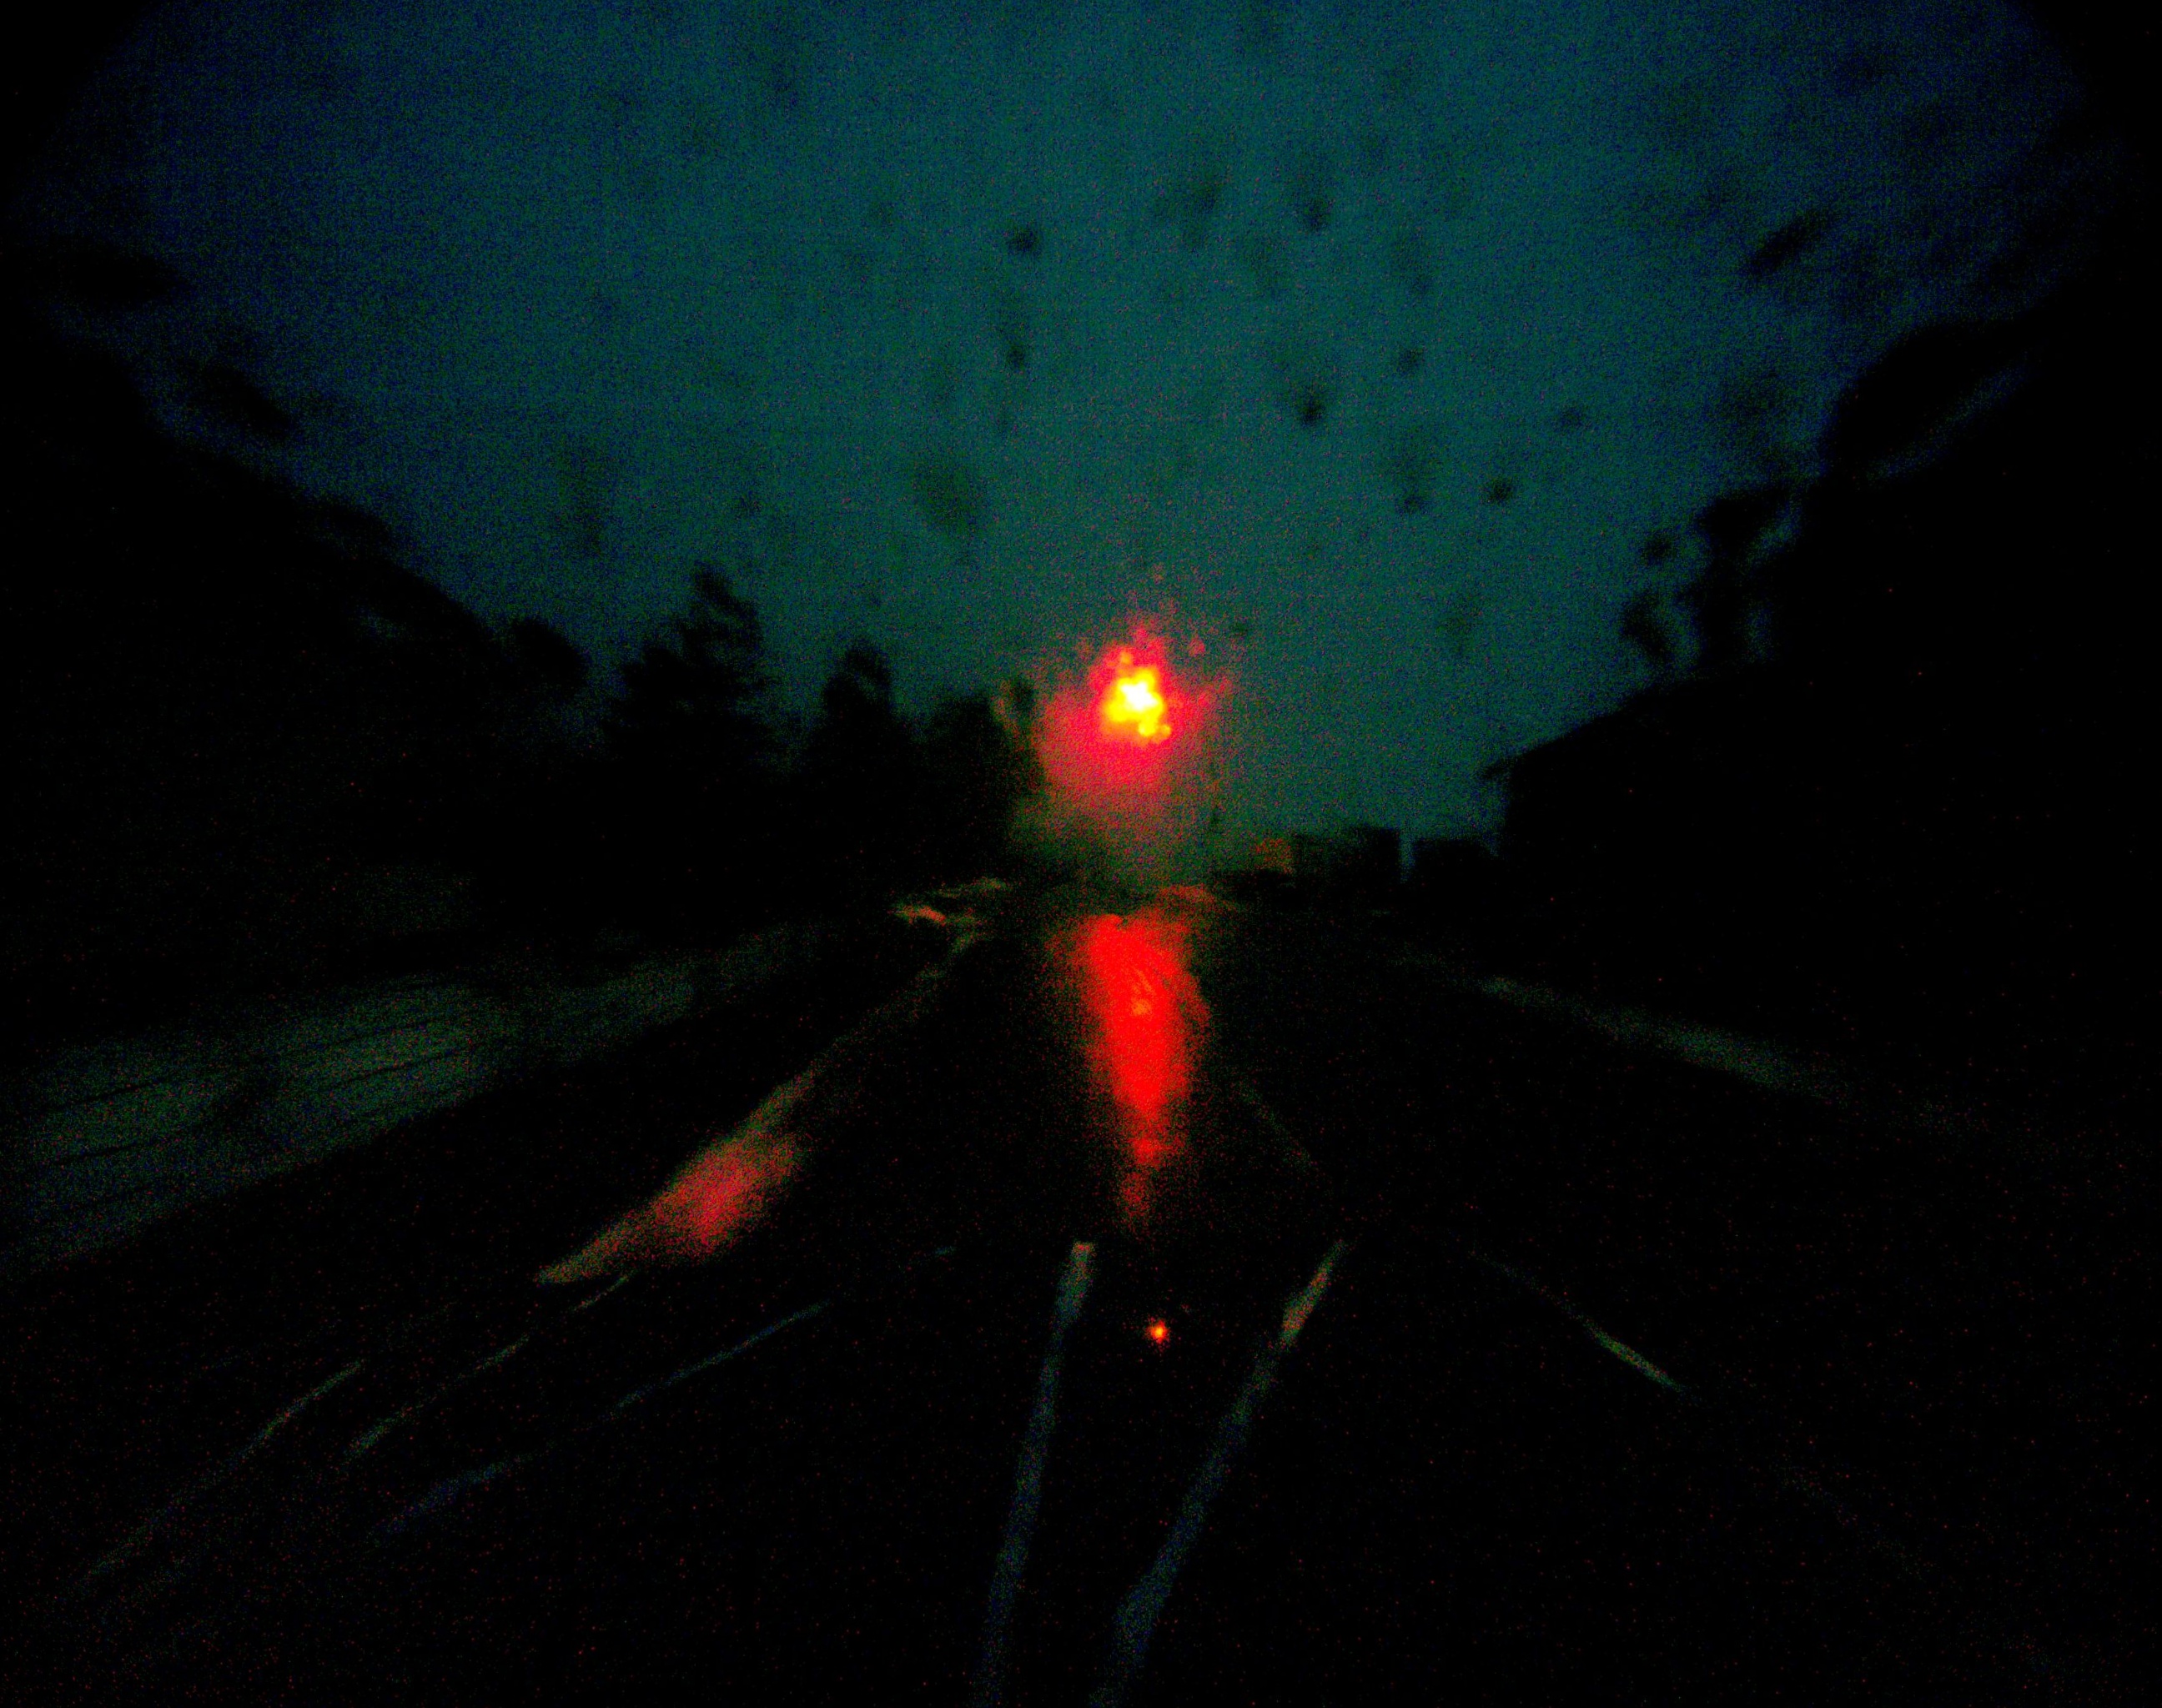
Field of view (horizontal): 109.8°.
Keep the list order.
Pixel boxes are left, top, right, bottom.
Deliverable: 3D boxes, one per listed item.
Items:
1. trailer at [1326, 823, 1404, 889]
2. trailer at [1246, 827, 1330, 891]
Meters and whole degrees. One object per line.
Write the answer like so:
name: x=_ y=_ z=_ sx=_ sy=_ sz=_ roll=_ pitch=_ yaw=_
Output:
trailer: x=11.559 y=0.128 z=31.216 sx=1.997 sy=2.474 sz=4.013 roll=2 pitch=-1 yaw=5
trailer: x=8.872 y=0.238 z=32.763 sx=1.697 sy=2.589 sz=3.438 roll=2 pitch=-1 yaw=-22
